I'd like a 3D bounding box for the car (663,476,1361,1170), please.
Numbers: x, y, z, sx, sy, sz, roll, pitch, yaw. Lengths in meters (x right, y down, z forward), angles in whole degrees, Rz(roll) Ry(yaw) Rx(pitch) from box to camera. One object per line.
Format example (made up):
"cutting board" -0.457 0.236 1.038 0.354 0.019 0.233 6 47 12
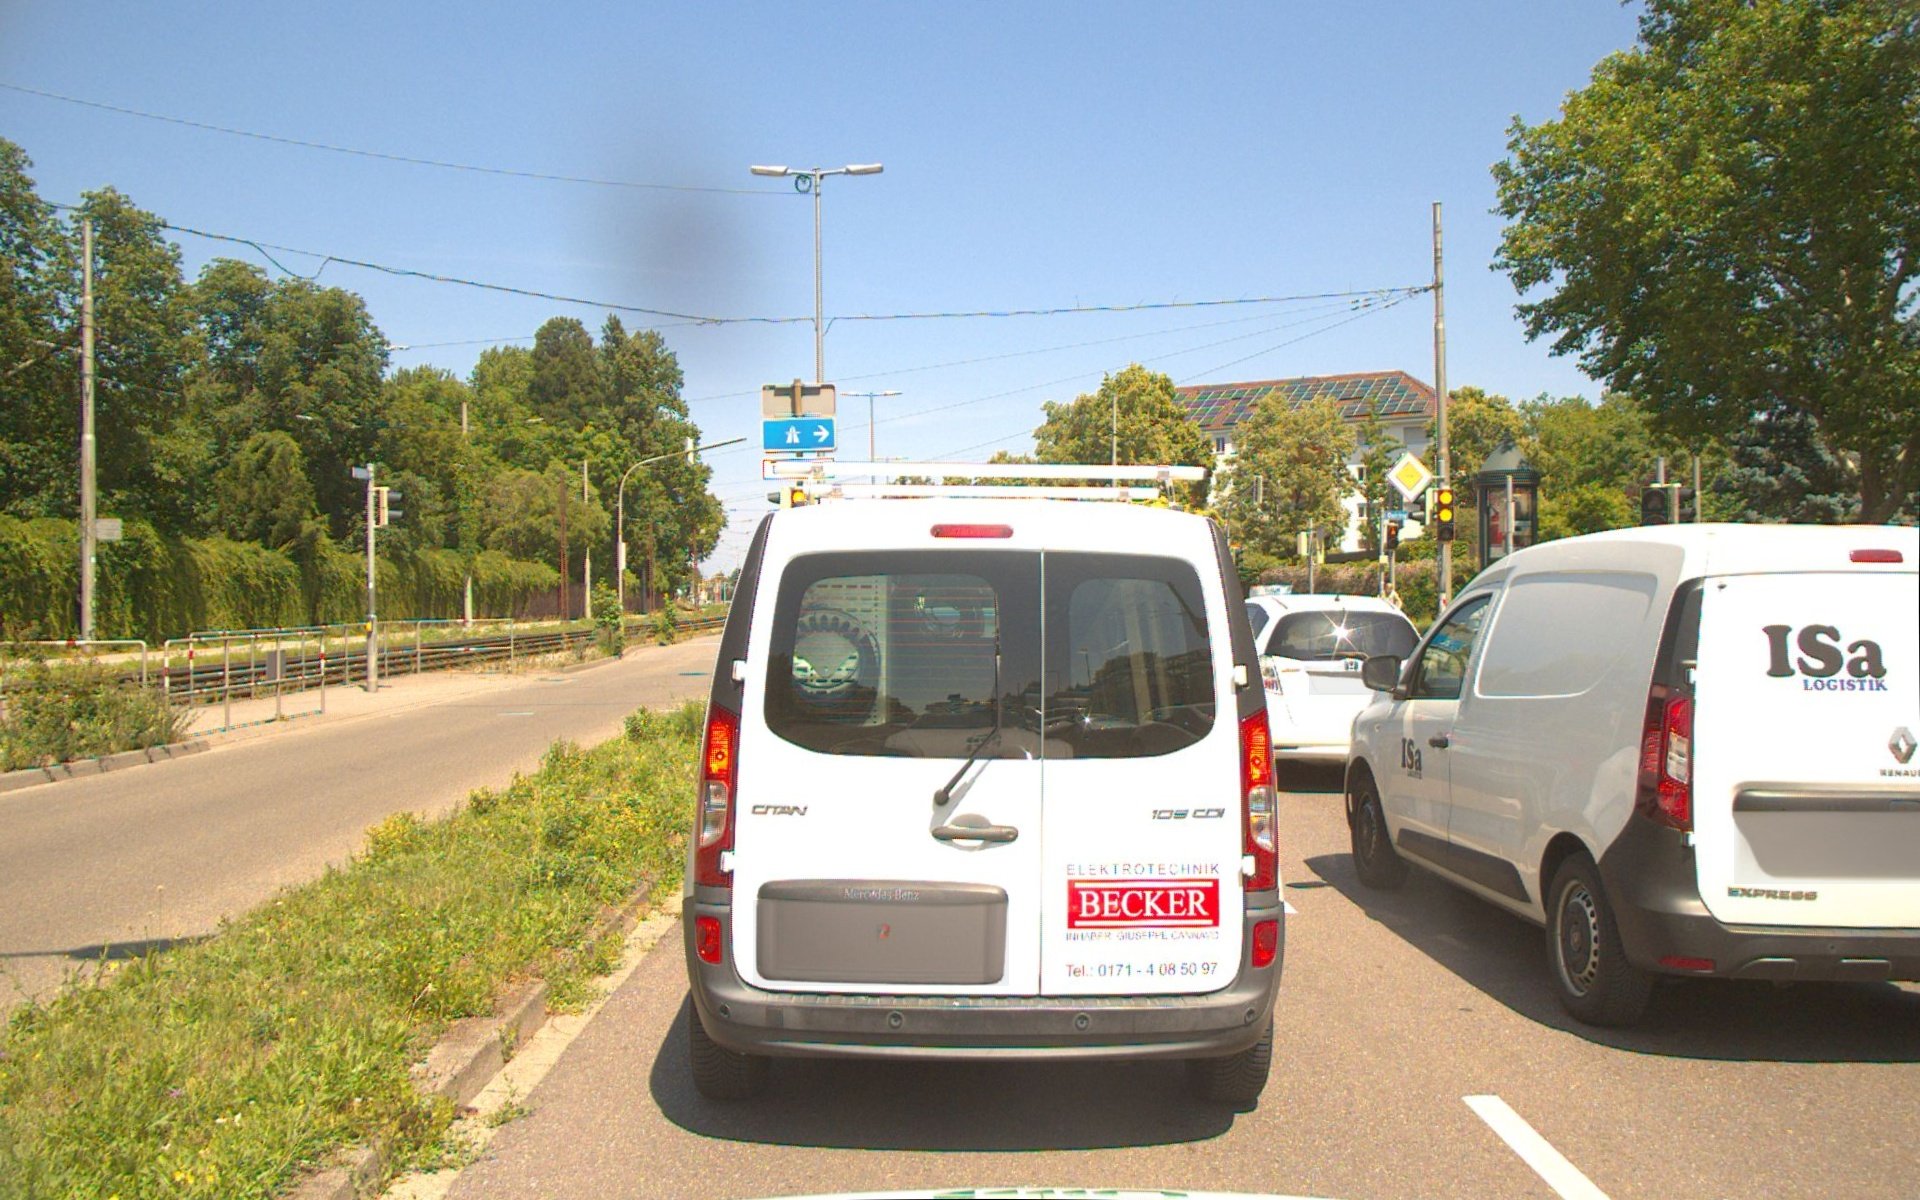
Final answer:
"car" 0.107 0.569 6.439 1.784 1.770 4.395 0 0 -1

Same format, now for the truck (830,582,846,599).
"truck" -18.920 -1.459 256.457 2.095 2.633 5.888 1 0 -1

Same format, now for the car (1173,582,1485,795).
"car" 3.081 0.660 14.652 1.798 1.596 3.999 1 1 -1

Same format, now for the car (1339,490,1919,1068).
"car" 3.045 0.575 7.290 1.693 1.819 4.063 1 0 -2

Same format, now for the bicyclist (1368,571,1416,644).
"bicyclist" 10.862 0.190 41.621 0.956 1.819 0.724 0 0 -11

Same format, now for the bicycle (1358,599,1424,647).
"bicycle" 10.824 0.575 41.640 0.876 1.179 1.951 0 0 -10

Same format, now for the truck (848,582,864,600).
"truck" -16.203 -1.408 257.514 2.095 2.633 5.888 1 0 -1
